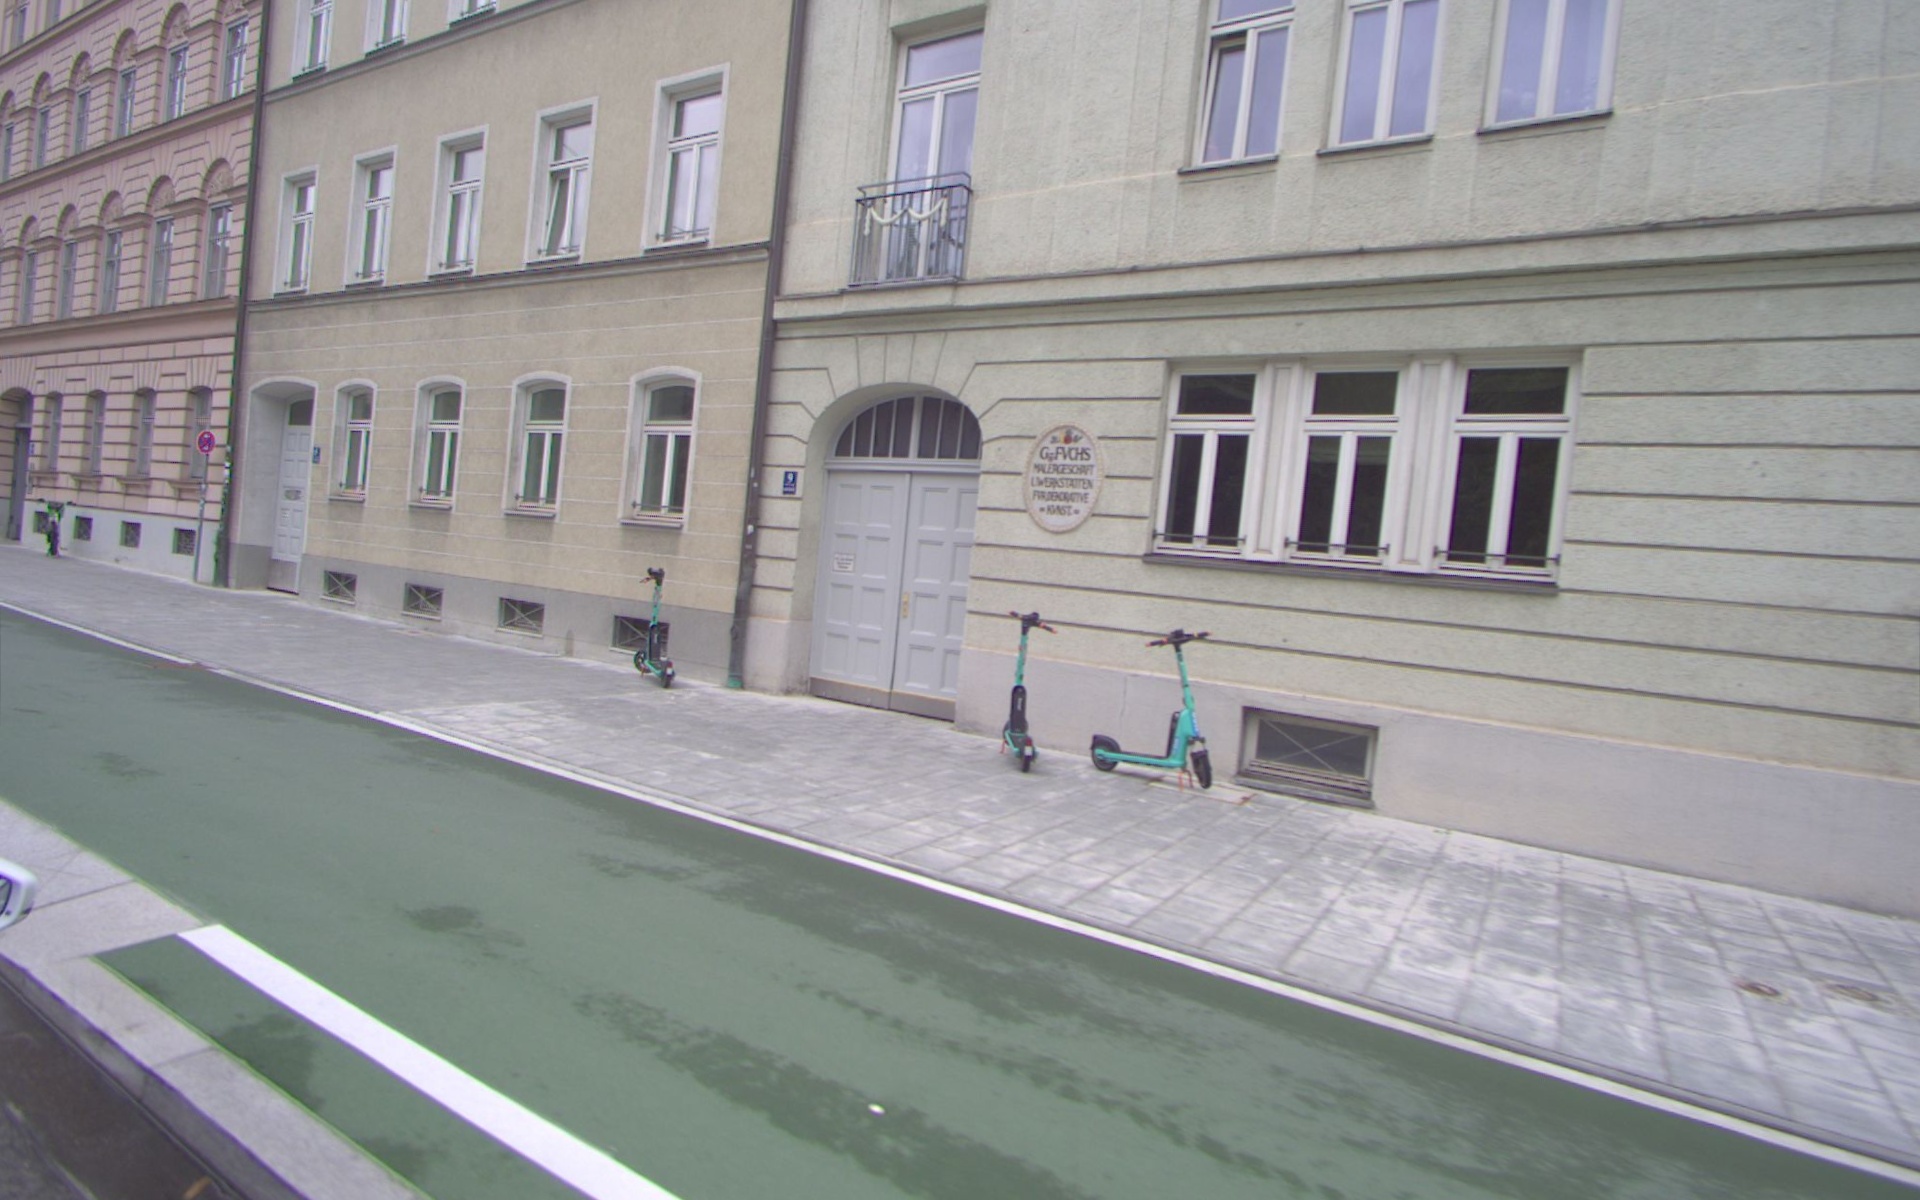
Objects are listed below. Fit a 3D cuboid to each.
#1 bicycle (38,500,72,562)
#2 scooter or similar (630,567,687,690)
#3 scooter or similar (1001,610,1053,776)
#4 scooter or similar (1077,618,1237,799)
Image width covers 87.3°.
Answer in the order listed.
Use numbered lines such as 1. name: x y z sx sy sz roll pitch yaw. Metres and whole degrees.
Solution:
1. bicycle: -18.756 -1.440 20.863 0.424 1.189 1.711 4 2 -41
2. scooter or similar: -3.343 0.294 11.098 0.244 1.248 1.109 3 3 -32
3. scooter or similar: 0.549 0.742 8.468 0.242 1.248 1.118 5 2 -1
4. scooter or similar: 1.587 0.843 8.147 1.101 1.290 0.386 6 3 31
